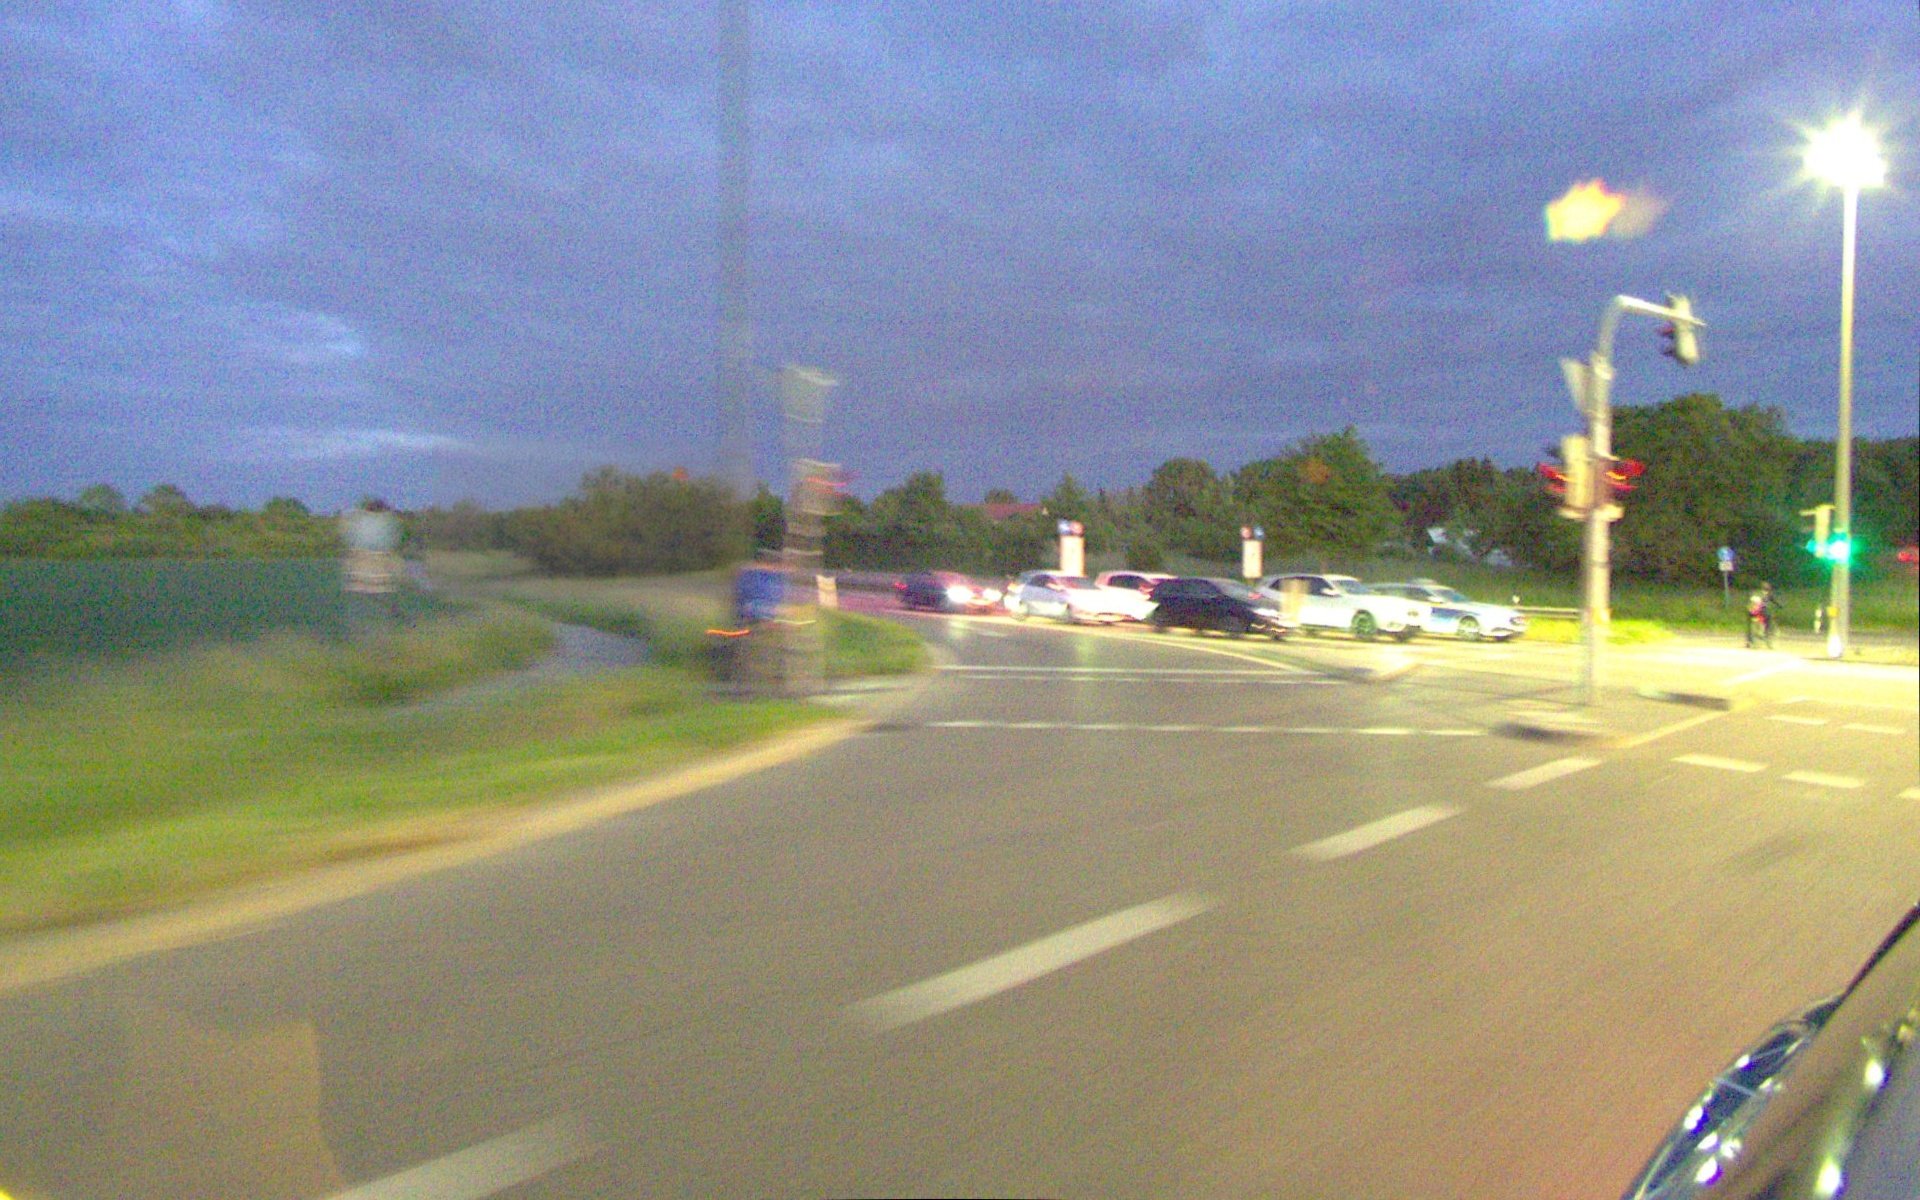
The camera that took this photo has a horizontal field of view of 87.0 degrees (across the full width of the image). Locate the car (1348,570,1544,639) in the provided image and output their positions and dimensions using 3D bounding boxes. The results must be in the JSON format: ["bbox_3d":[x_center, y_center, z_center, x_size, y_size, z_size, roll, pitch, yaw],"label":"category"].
[{"bbox_3d":[13.239,0.060,27.884,1.821,1.653,4.590,1,2,-31],"label":"car"}]

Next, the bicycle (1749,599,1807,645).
[{"bbox_3d":[21.083,0.552,26.084,2.030,1.115,0.695,0,1,-38],"label":"bicycle"}]

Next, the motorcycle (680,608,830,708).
[{"bbox_3d":[-2.390,0.677,11.774,1.562,1.045,0.716,-4,2,29],"label":"motorcycle"}]

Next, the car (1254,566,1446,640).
[{"bbox_3d":[9.993,0.025,26.280,1.876,1.703,4.425,1,2,-31],"label":"car"}]

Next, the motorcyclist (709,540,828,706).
[{"bbox_3d":[-2.215,0.256,11.798,0.862,1.831,0.908,-4,1,28],"label":"motorcyclist"}]

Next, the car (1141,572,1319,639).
[{"bbox_3d":[6.649,0.077,25.367,1.750,1.463,4.296,1,2,-30],"label":"car"}]

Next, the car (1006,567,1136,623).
[{"bbox_3d":[3.280,-0.212,30.624,1.801,1.543,4.004,0,2,-32],"label":"car"}]

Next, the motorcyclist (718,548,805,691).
[{"bbox_3d":[-2.574,0.246,13.172,0.781,1.780,0.679,-3,2,23],"label":"motorcyclist"}]

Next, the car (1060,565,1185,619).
[{"bbox_3d":[5.373,-0.317,33.956,1.716,1.646,4.368,1,2,-31],"label":"car"}]

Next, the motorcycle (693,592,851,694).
[{"bbox_3d":[-2.432,0.553,13.104,1.800,1.196,0.844,-3,2,23],"label":"motorcycle"}]

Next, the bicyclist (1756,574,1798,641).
[{"bbox_3d":[20.906,0.177,25.901,0.982,1.672,0.603,1,1,-38],"label":"bicyclist"}]

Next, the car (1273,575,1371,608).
[{"bbox_3d":[16.878,-0.427,47.329,1.594,1.461,4.118,0,2,-36],"label":"car"}]

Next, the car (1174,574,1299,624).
[{"bbox_3d":[9.147,-0.070,33.764,1.743,1.499,3.915,1,1,-31],"label":"car"}]

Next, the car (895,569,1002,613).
[{"bbox_3d":[-0.490,-0.363,36.150,1.801,1.407,4.402,0,3,-32],"label":"car"}]
